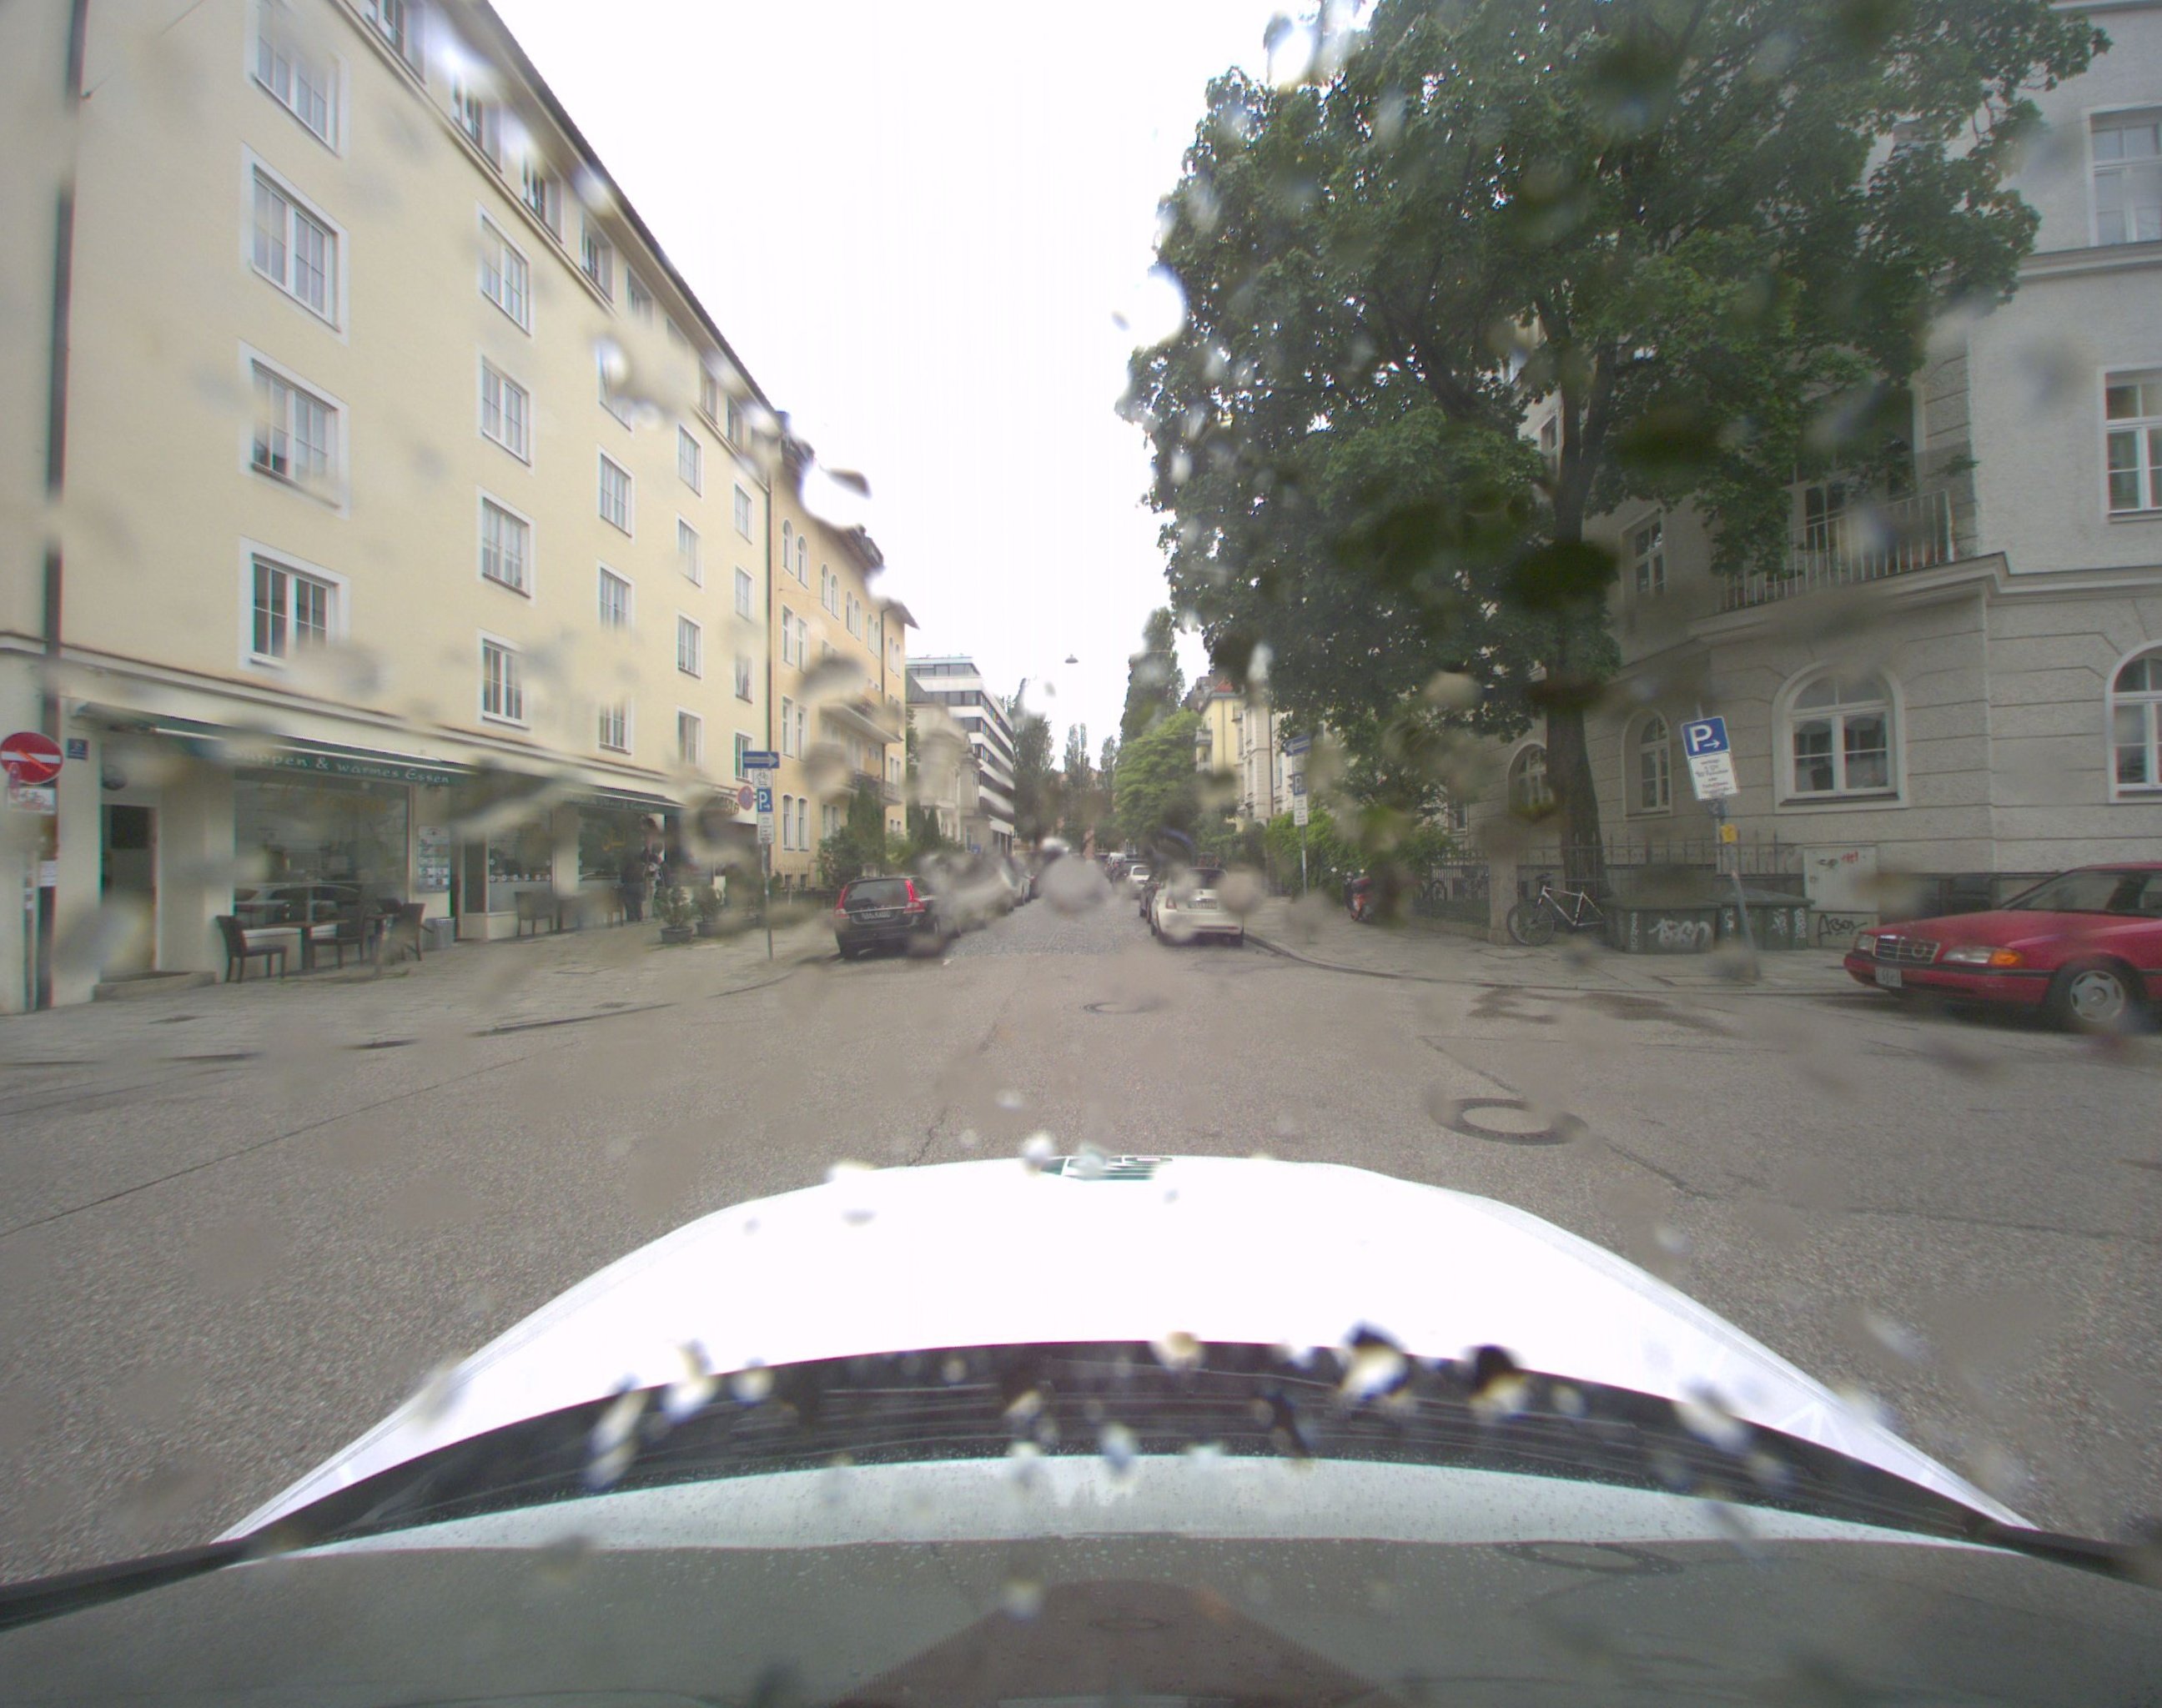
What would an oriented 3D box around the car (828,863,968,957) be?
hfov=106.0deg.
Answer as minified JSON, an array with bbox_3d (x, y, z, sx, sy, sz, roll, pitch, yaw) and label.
[{"bbox_3d":[-3.574,1.021,16.857,1.846,1.586,4.746,-1,0,-1],"label":"car"}]

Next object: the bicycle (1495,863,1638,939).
[{"bbox_3d":[7.575,0.734,12.778,1.826,1.124,0.564,-2,-1,10],"label":"bicycle"}]

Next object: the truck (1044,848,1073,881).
[{"bbox_3d":[-2.165,1.007,80.137,2.500,3.032,6.383,-3,0,0],"label":"truck"}]

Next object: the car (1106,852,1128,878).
[{"bbox_3d":[3.548,1.079,81.434,1.889,2.426,5.610,3,0,0],"label":"car"}]

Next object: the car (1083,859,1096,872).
[{"bbox_3d":[1.325,1.841,126.058,1.989,1.936,4.002,-1,-1,2],"label":"car"}]

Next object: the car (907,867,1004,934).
[{"bbox_3d":[-3.217,1.147,21.765,1.767,1.536,4.541,-2,-1,1],"label":"car"}]

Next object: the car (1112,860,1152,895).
[{"bbox_3d":[2.605,1.187,42.550,1.868,1.673,5.492,-1,-1,1],"label":"car"}]

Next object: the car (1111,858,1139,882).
[{"bbox_3d":[3.366,1.205,63.000,1.956,1.759,4.953,-1,-1,0],"label":"car"}]

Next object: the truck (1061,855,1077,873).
[{"bbox_3d":[-1.553,1.403,108.921,1.986,2.347,4.068,-1,-1,1],"label":"truck"}]

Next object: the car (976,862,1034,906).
[{"bbox_3d":[-3.002,1.178,33.022,1.767,1.647,4.392,-1,-1,2],"label":"car"}]

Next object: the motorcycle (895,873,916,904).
[{"bbox_3d":[-7.177,1.403,33.424,0.489,1.194,1.579,-1,-1,0],"label":"motorcycle"}]

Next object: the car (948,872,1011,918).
[{"bbox_3d":[-3.267,1.304,26.927,1.770,1.359,4.385,-1,-1,-3],"label":"car"}]

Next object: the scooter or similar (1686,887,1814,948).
[{"bbox_3d":[9.595,0.904,11.721,1.229,0.826,0.698,-1,-1,10],"label":"scooter or similar"}]

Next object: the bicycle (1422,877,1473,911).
[{"bbox_3d":[9.557,1.024,21.327,0.489,0.812,2.276,-1,-1,5],"label":"bicycle"}]

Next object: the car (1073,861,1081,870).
[{"bbox_3d":[-0.659,1.911,134.921,1.272,1.541,3.119,-1,-1,1],"label":"car"}]

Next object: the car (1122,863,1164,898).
[{"bbox_3d":[2.773,1.168,37.019,1.624,1.469,3.659,1,-1,1],"label":"car"}]

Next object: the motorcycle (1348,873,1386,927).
[{"bbox_3d":[6.034,0.948,17.224,0.360,1.090,1.405,-1,-1,4],"label":"motorcycle"}]

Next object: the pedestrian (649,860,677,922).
[{"bbox_3d":[-11.608,1.008,22.629,0.460,1.690,0.574,-1,-1,1],"label":"pedestrian"}]

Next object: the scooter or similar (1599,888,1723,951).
[{"bbox_3d":[8.369,0.931,11.807,1.175,0.848,0.927,-1,-1,10],"label":"scooter or similar"}]

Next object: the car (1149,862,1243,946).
[{"bbox_3d":[2.236,0.937,16.615,1.496,1.471,3.797,-1,-1,2],"label":"car"}]

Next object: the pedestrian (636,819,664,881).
[{"bbox_3d":[-11.572,-0.115,21.881,0.475,1.642,0.498,-1,-1,5],"label":"pedestrian"}]

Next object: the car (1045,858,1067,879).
[{"bbox_3d":[-2.221,1.304,73.797,1.888,1.751,4.166,-2,-1,-1],"label":"car"}]

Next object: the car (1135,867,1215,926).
[{"bbox_3d":[2.496,1.100,22.673,1.643,1.422,4.631,2,-1,0],"label":"car"}]

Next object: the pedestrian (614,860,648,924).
[{"bbox_3d":[-11.653,0.977,21.080,0.520,1.642,0.629,-1,-1,0],"label":"pedestrian"}]

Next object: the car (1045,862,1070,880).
[{"bbox_3d":[-1.975,1.409,68.996,1.934,1.459,4.057,-1,-1,0],"label":"car"}]

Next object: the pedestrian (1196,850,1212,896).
[{"bbox_3d":[5.040,0.767,33.396,0.572,1.850,0.683,-1,-1,8],"label":"pedestrian"}]

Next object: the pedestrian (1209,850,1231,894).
[{"bbox_3d":[5.754,0.753,33.824,0.630,1.808,0.655,0,-1,-22],"label":"pedestrian"}]

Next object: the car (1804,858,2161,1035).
[{"bbox_3d":[9.523,0.733,7.200,4.442,1.358,1.764,-2,-1,8],"label":"car"}]

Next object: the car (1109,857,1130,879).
[{"bbox_3d":[3.556,1.293,75.888,1.794,1.950,4.859,2,-1,0],"label":"car"}]

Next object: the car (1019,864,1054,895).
[{"bbox_3d":[-2.434,1.404,45.350,1.574,1.590,4.056,-3,-1,1],"label":"car"}]

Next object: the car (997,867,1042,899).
[{"bbox_3d":[-2.895,1.365,39.088,1.767,1.429,4.391,-1,-1,1],"label":"car"}]

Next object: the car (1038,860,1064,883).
[{"bbox_3d":[-2.305,1.338,63.631,1.768,1.718,4.390,-1,-1,0],"label":"car"}]
